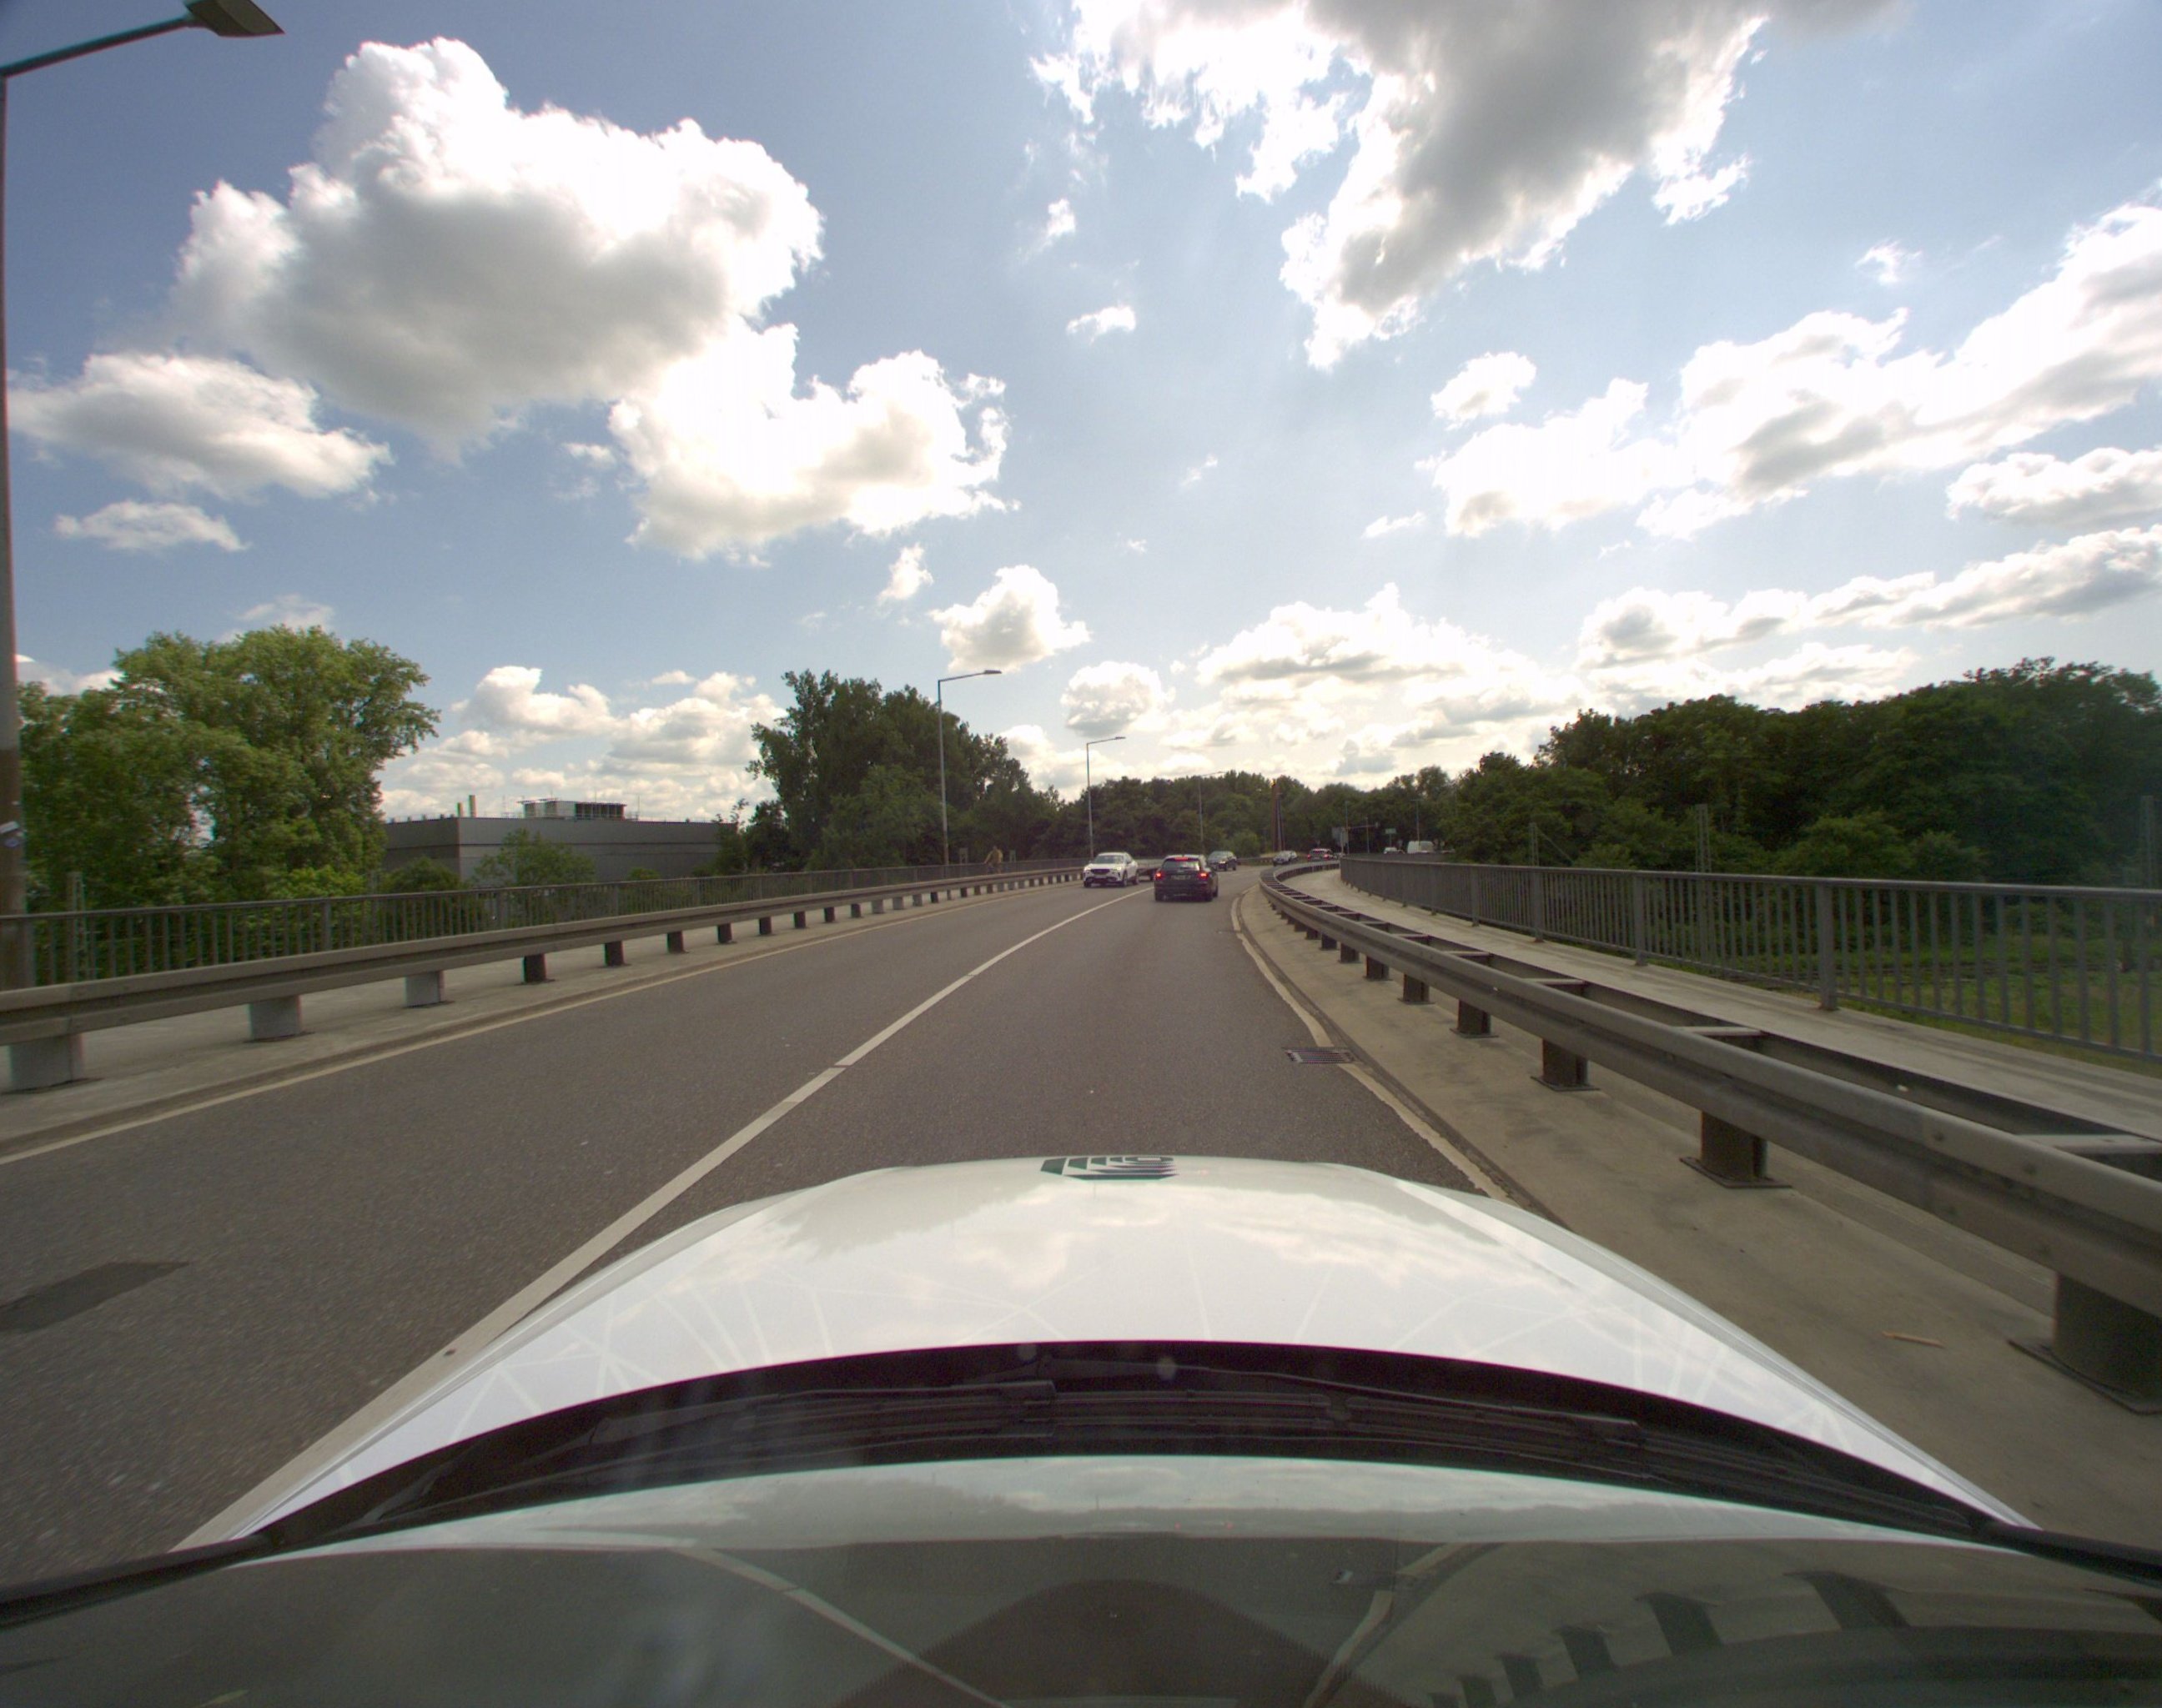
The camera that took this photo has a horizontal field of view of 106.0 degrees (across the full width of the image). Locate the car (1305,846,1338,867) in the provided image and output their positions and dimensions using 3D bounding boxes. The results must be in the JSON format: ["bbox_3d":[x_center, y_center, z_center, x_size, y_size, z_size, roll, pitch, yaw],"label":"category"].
[{"bbox_3d":[20.313,0.177,68.712,1.804,1.651,3.880,1,1,31],"label":"car"}]

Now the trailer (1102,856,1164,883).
[{"bbox_3d":[2.762,0.740,41.683,2.030,1.209,6.006,0,0,14],"label":"trailer"}]

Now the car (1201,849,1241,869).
[{"bbox_3d":[10.720,0.367,62.138,1.800,1.451,4.765,0,1,25],"label":"car"}]

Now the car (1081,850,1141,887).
[{"bbox_3d":[1.436,0.601,36.658,1.793,1.535,4.366,0,0,14],"label":"car"}]

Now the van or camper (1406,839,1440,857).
[{"bbox_3d":[44.241,-0.809,105.208,5.271,2.340,2.252,0,1,-45],"label":"van or camper"}]

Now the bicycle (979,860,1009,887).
[{"bbox_3d":[-3.715,0.810,34.845,0.764,1.095,2.120,-1,0,8],"label":"bicycle"}]

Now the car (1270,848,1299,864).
[{"bbox_3d":[19.605,0.168,78.337,1.797,1.452,3.950,0,1,27],"label":"car"}]

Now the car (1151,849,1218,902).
[{"bbox_3d":[3.436,0.625,26.480,1.816,1.491,4.221,0,1,12],"label":"car"}]

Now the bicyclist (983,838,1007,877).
[{"bbox_3d":[-3.699,0.149,34.999,0.762,1.602,0.950,-1,0,8],"label":"bicyclist"}]
